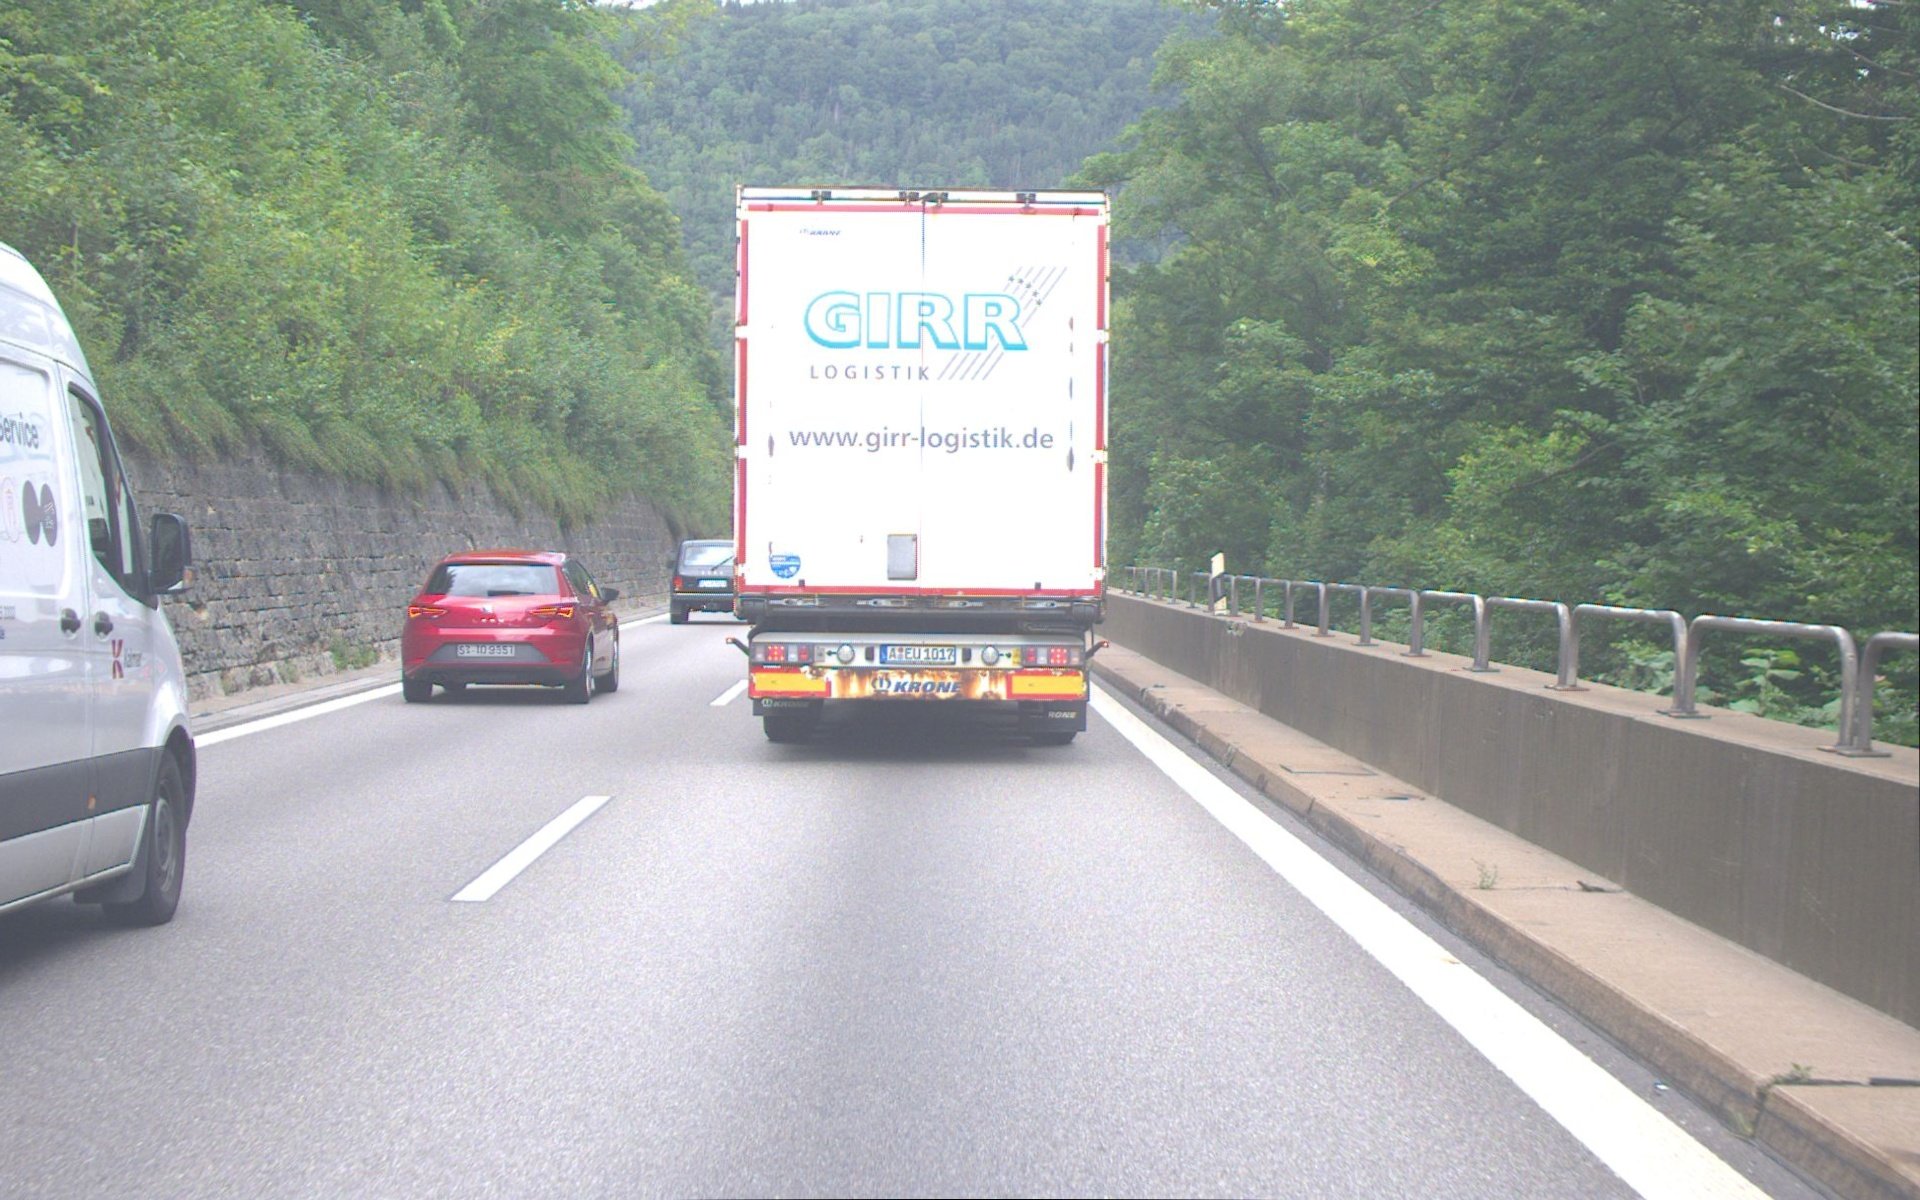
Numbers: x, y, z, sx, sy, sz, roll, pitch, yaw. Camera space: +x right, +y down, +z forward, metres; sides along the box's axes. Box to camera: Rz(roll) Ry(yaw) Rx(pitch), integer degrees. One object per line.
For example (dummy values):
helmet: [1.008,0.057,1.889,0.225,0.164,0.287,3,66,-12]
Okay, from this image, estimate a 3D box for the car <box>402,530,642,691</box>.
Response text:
car: [-4.179,0.078,33.408,1.766,1.455,4.411,0,0,0]

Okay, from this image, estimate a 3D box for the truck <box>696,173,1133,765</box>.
truck: [-0.280,-0.938,27.647,2.909,3.947,9.279,0,1,0]

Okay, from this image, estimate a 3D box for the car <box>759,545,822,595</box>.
car: [-5.142,-0.918,104.748,1.729,1.481,4.000,0,0,0]

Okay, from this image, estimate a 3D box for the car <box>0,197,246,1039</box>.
car: [-3.965,0.051,11.253,2.026,2.576,6.275,0,0,-1]

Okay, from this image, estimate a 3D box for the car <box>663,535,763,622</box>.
car: [-4.750,-0.422,66.538,1.669,1.633,4.068,0,0,-1]
